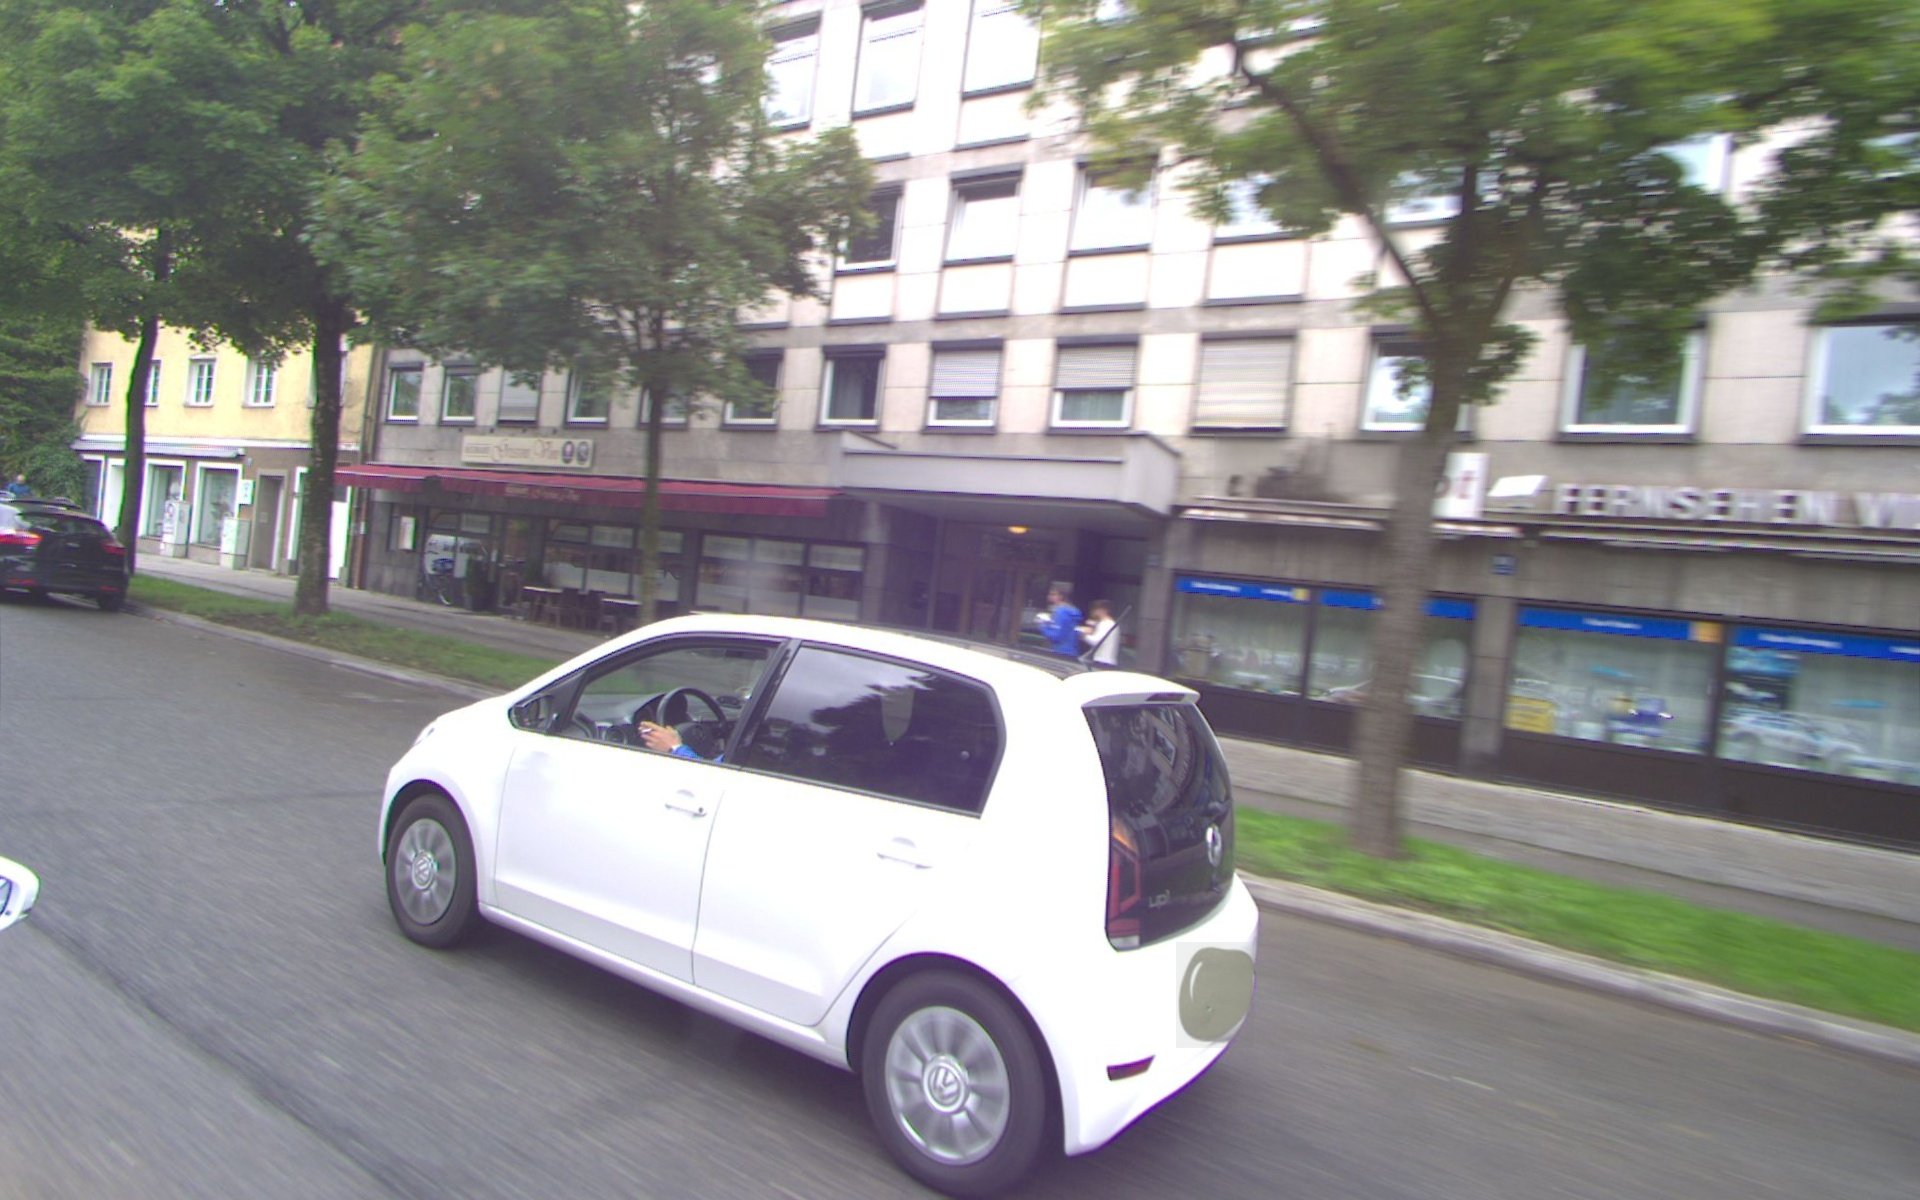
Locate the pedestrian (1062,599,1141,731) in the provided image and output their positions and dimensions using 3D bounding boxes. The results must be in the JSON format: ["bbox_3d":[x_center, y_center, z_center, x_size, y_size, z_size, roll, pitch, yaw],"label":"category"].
[{"bbox_3d":[1.899,0.870,13.524,0.712,1.661,0.542,7,0,32],"label":"pedestrian"}]

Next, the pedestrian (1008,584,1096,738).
[{"bbox_3d":[1.109,0.732,12.165,0.720,1.755,0.500,7,1,32],"label":"pedestrian"}]

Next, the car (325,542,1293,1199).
[{"bbox_3d":[-0.680,0.757,4.000,3.378,1.507,1.690,7,-2,32],"label":"car"}]

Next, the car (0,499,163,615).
[{"bbox_3d":[-14.610,-0.778,15.709,3.932,1.469,1.997,7,-1,30],"label":"car"}]

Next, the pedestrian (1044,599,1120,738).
[{"bbox_3d":[1.543,0.856,12.711,0.630,1.651,0.549,7,2,31],"label":"pedestrian"}]

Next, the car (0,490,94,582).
[{"bbox_3d":[-20.347,-1.489,21.116,4.261,1.663,1.996,7,0,32],"label":"car"}]

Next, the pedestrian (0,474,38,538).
[{"bbox_3d":[-29.631,-2.947,31.527,0.763,1.880,0.793,7,2,29],"label":"pedestrian"}]

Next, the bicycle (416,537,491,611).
[{"bbox_3d":[-11.323,-0.588,22.481,1.660,1.482,0.580,7,1,32],"label":"bicycle"}]
